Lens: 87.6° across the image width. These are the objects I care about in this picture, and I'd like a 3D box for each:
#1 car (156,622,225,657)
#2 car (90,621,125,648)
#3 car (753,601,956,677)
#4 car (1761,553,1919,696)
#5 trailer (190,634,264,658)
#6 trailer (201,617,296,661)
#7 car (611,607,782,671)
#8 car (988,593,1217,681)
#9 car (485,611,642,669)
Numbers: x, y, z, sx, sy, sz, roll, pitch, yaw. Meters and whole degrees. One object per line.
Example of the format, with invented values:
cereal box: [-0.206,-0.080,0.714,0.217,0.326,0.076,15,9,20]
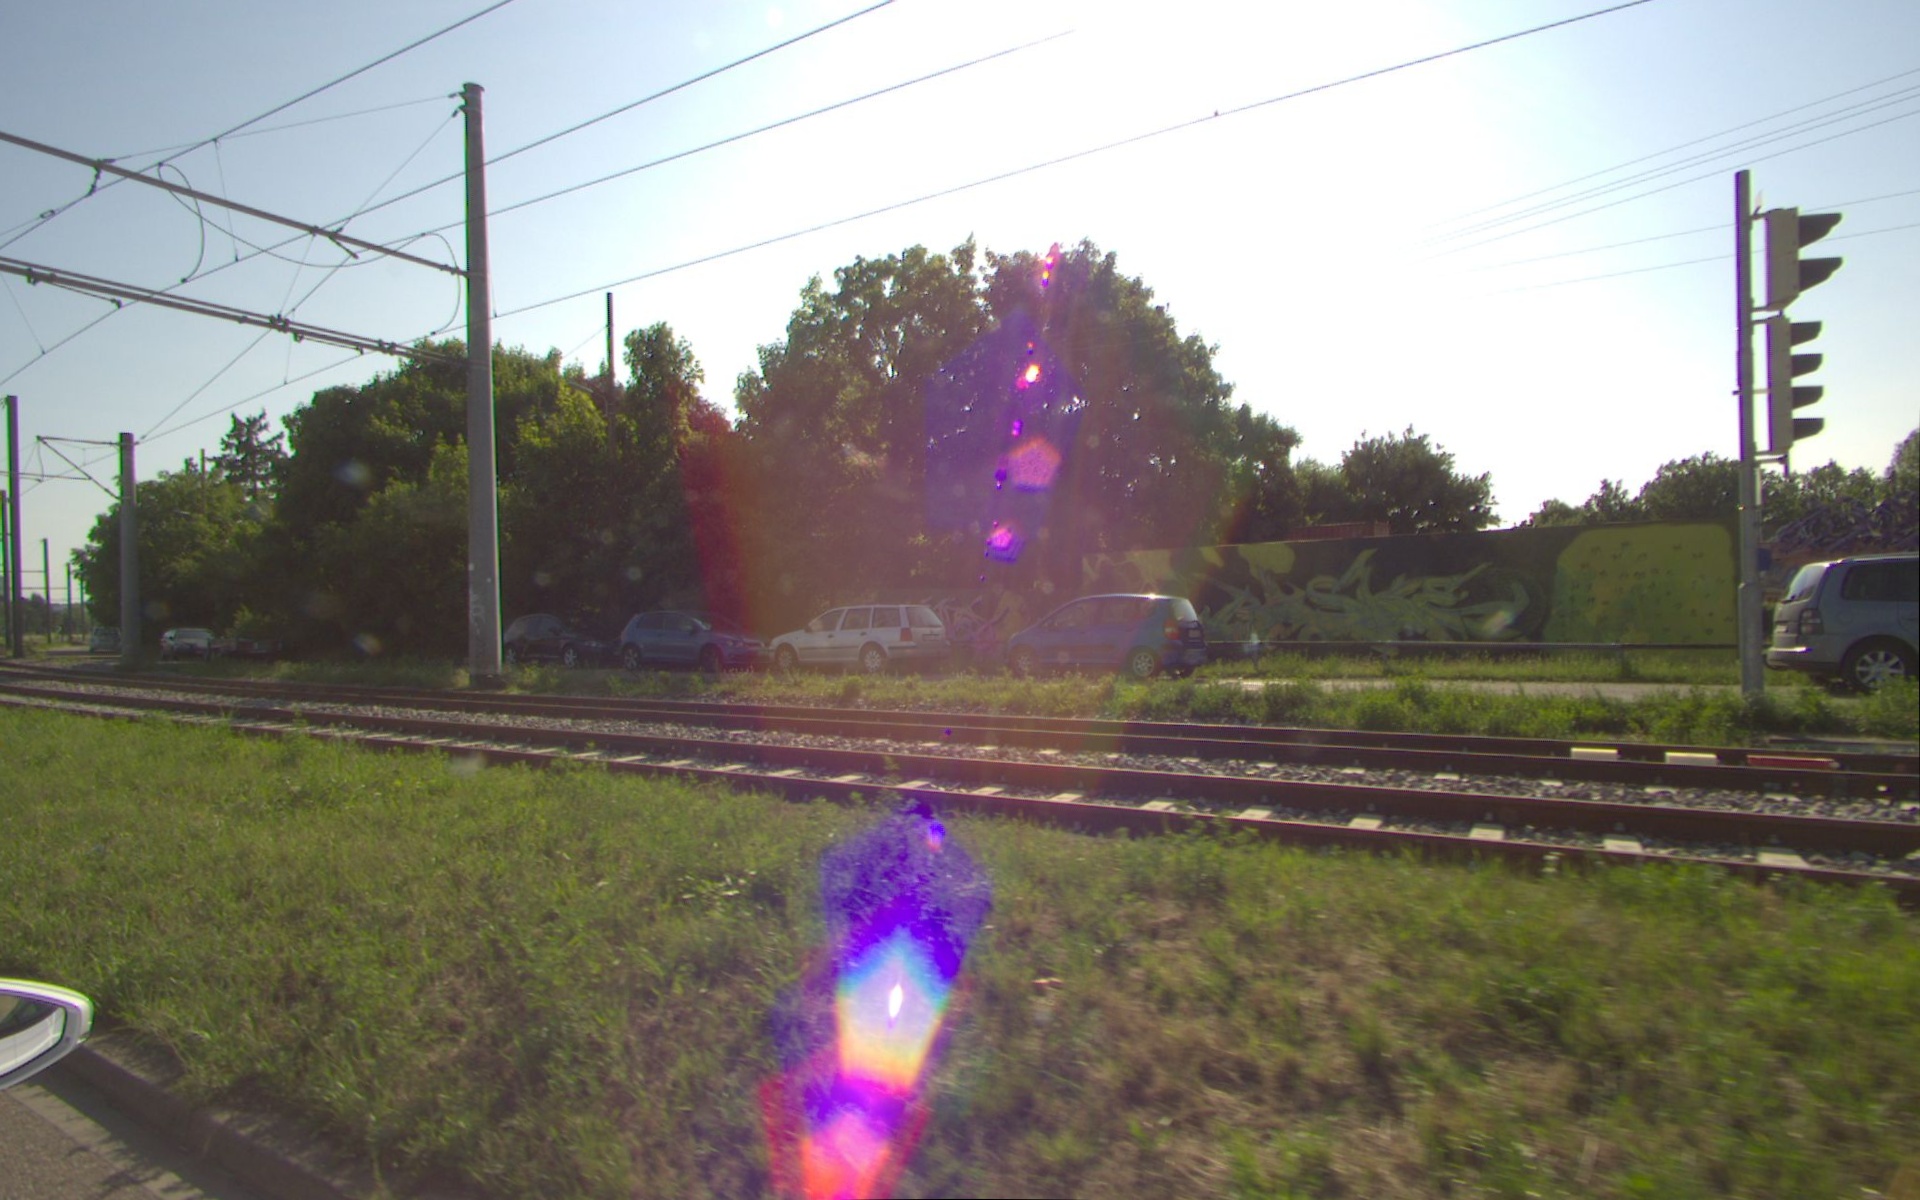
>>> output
car: [-34.221,1.755,44.489,4.829,1.475,1.690,-1,-3,44]
car: [-67.656,2.780,79.509,1.979,2.029,5.024,3,-3,-40]
car: [-2.343,0.796,21.669,4.331,1.485,1.704,-1,0,35]
car: [12.208,0.256,11.539,4.414,1.632,1.521,-1,1,28]
trailer: [-30.480,1.915,41.616,3.686,0.951,1.724,-2,-4,41]
trailer: [-27.608,1.510,38.828,4.210,1.616,2.018,-2,-3,41]
car: [-6.332,0.908,23.971,4.088,1.419,1.482,-1,0,30]
car: [2.568,0.668,18.388,3.860,1.448,1.673,-1,-2,36]
car: [-10.633,1.061,26.741,4.457,1.428,1.620,-1,-2,33]
